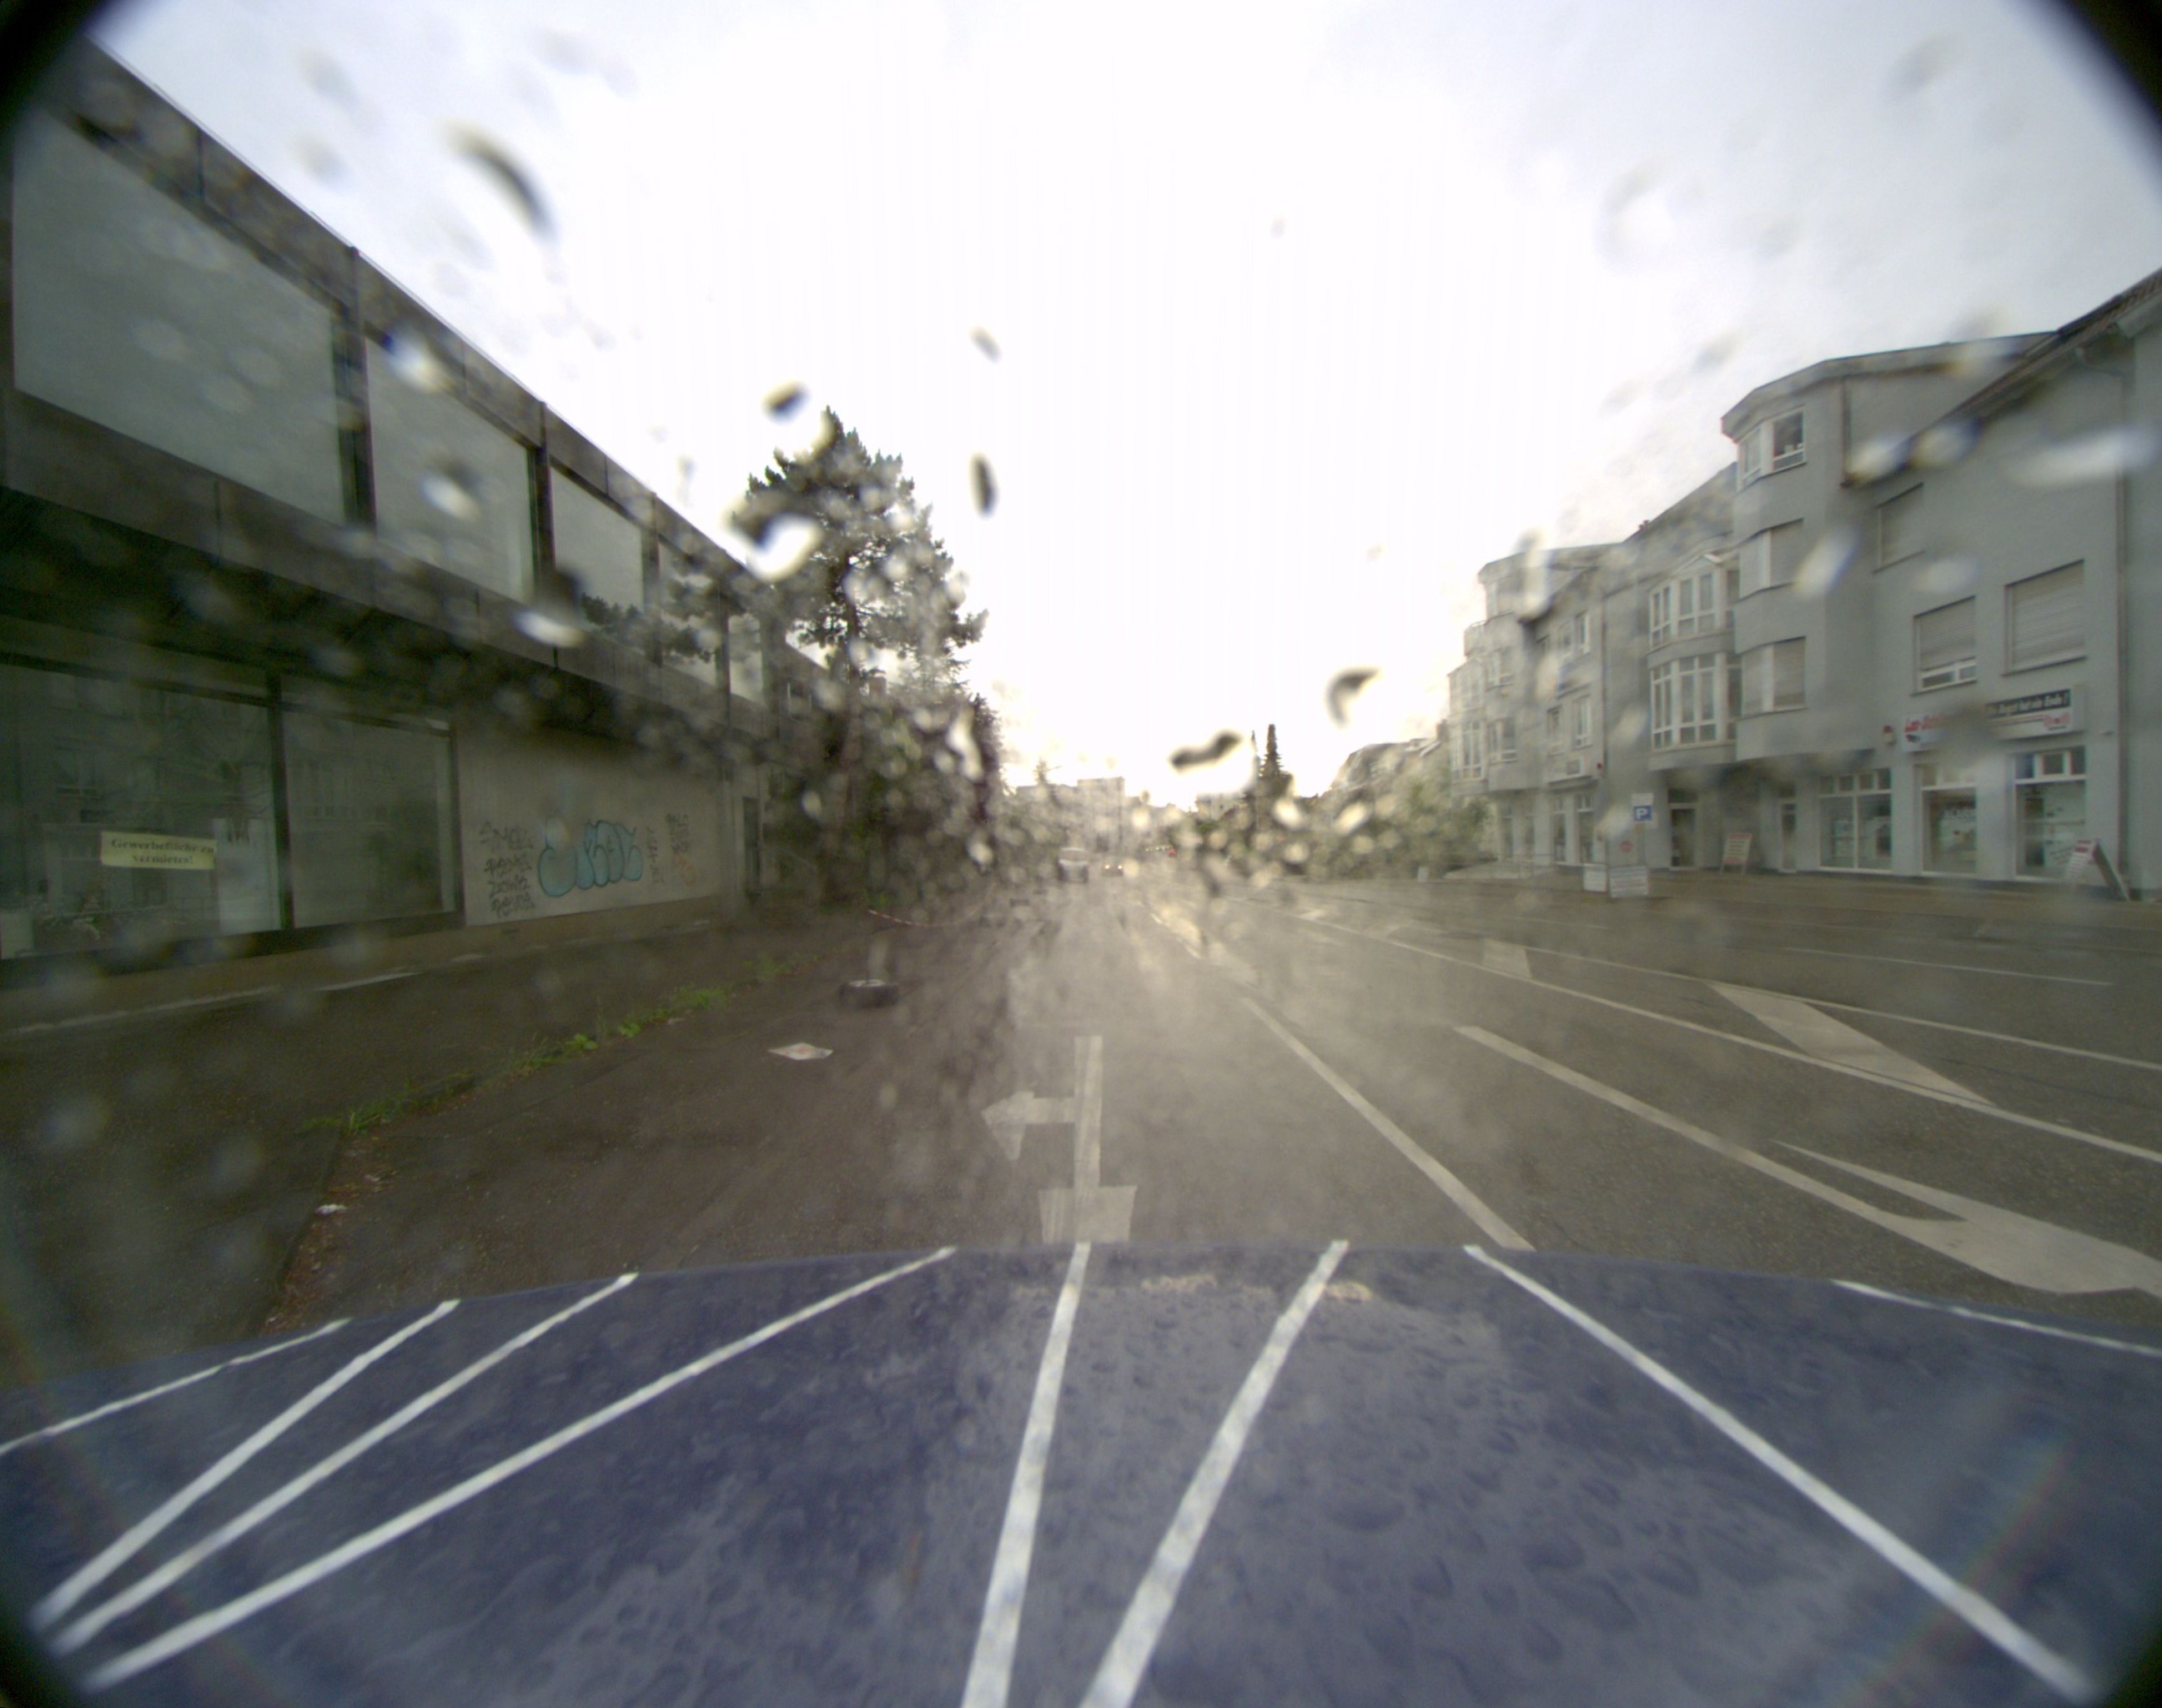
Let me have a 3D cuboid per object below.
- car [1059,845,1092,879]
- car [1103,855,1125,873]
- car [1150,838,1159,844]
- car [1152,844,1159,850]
[{"bbox_3d":[-0.341,0.470,50.408,1.998,2.072,3.999,-2,1,1],"label":"car"},{"bbox_3d":[2.949,0.885,68.734,1.754,1.534,4.676,-1,1,1],"label":"car"},{"bbox_3d":[23.375,-4.137,241.880,1.996,1.808,4.003,-2,1,14],"label":"car"},{"bbox_3d":[22.771,-2.242,231.912,1.997,1.723,4.002,-2,1,7],"label":"car"}]
